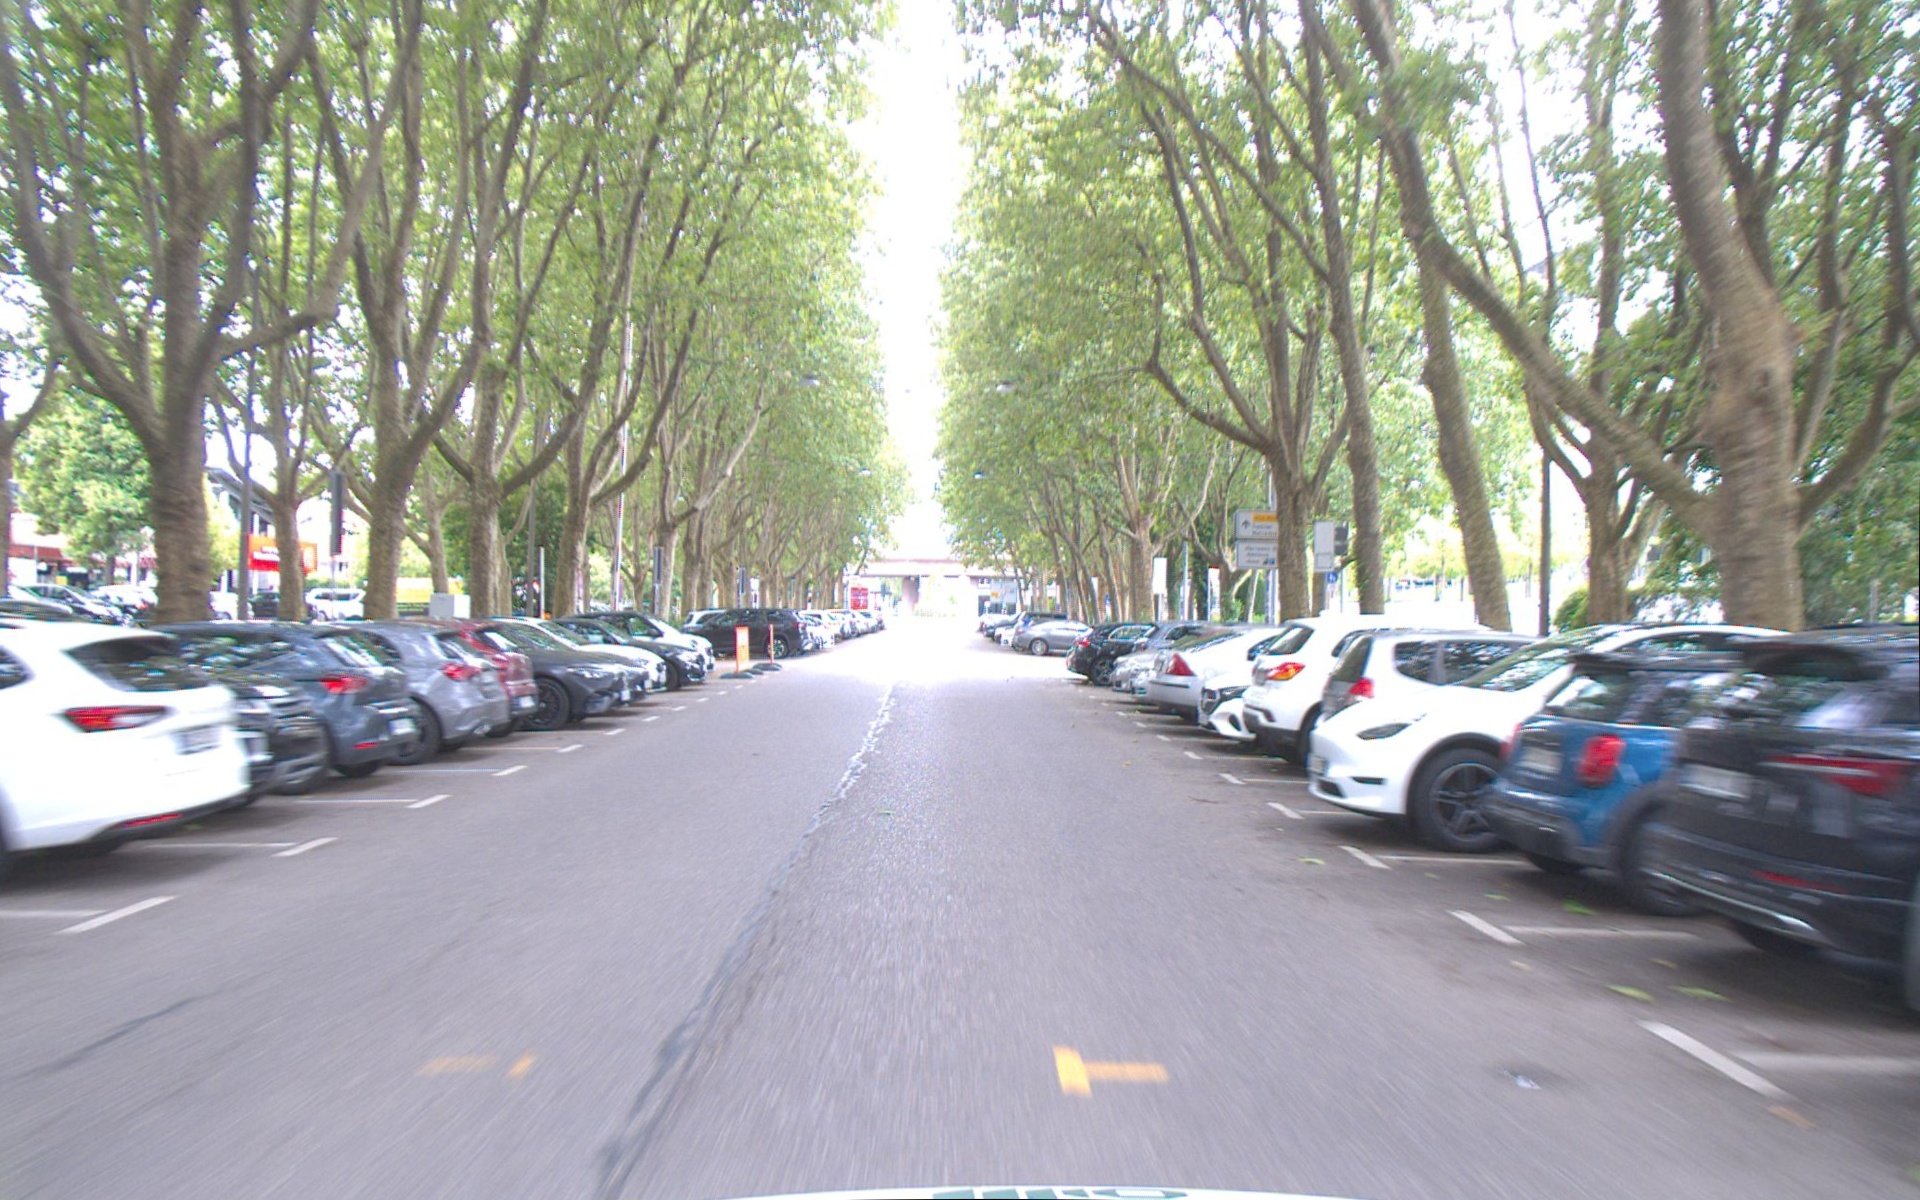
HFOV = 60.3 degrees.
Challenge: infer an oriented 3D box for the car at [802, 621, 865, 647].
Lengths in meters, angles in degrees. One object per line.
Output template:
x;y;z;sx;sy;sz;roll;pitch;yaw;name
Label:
-7.984;2.138;104.604;3.733;1.542;1.687;-1;-1;4;car

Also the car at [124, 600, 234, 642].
-33.394;0.896;70.796;3.902;1.617;1.695;2;-1;8;car

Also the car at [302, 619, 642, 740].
-6.249;1.001;21.508;3.941;1.455;1.693;-1;-1;-4;car

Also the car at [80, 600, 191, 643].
-33.764;0.898;67.799;3.680;1.618;1.535;2;-1;-3;car

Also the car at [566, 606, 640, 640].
-23.334;1.477;108.226;4.261;2.050;2.176;2;-1;3;car

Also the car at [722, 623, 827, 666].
-6.904;1.655;61.779;3.737;1.510;1.661;-1;-1;-3;car

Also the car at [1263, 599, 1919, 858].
4.481;0.888;12.105;4.084;1.624;1.853;2;-1;-4;car

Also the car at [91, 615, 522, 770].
-6.582;0.903;16.976;3.751;1.455;1.693;-1;-1;-4;car

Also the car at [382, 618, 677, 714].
-6.908;1.049;26.829;4.311;1.455;1.694;-1;-1;0;car

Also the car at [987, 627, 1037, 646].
4.586;3.186;145.894;4.287;1.549;1.731;2;-1;0;car

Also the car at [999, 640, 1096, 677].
3.804;2.519;71.401;4.088;1.467;1.732;2;-1;4;car

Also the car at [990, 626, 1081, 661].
3.503;1.993;76.376;4.088;1.467;1.732;2;-1;4;car

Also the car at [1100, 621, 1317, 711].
4.407;1.165;29.607;3.605;1.449;1.518;2;-1;-3;car

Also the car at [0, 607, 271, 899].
-6.177;0.829;9.474;3.751;1.523;1.693;-1;-1;-4;car

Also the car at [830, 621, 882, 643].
-7.888;2.420;125.939;3.734;1.542;1.686;1;-1;2;car

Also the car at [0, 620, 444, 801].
-6.698;0.926;14.560;3.750;1.455;1.801;-1;-1;-2;car

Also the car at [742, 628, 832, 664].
-7.744;2.078;74.324;3.733;1.510;1.663;-1;-1;4;car

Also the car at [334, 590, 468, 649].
-23.391;0.808;69.340;4.976;2.271;1.535;2;-1;-2;car

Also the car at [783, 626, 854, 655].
-8.077;2.331;94.568;3.733;1.542;1.687;-1;-1;4;car

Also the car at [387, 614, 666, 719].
-6.373;0.975;24.628;3.751;1.455;1.693;-1;-2;-4;car

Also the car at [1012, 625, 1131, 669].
4.317;1.814;64.159;4.478;1.513;2.001;2;-1;4;car

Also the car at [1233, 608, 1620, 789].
4.822;1.005;17.353;3.573;1.696;1.518;2;-1;-4;car

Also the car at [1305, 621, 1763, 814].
5.141;1.032;15.078;3.573;1.546;1.642;2;-1;-4;car

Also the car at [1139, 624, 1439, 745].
4.383;1.114;22.433;3.573;1.449;1.983;2;-1;-4;car

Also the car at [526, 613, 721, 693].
-6.948;1.083;34.390;3.751;1.582;1.693;-1;-1;-4;car

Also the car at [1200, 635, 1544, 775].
4.742;1.197;19.273;3.573;1.434;1.518;2;-1;-4;car

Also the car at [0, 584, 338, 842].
-6.523;0.742;11.467;3.752;1.636;1.857;-1;-1;-5;car

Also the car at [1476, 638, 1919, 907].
5.110;0.993;9.842;3.573;1.395;1.518;2;-1;-4;car

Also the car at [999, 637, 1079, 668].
4.110;2.728;86.377;3.968;1.494;1.730;2;-1;-3;car

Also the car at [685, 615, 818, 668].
-7.133;1.423;56.962;4.382;1.706;1.761;-1;-1;-3;car

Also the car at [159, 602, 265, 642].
-33.280;0.974;73.615;3.902;1.617;1.695;2;-1;8;car

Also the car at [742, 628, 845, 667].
-6.430;1.830;64.061;3.733;1.377;1.663;-1;-1;4;car

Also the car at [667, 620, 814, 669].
-7.134;1.451;54.077;4.571;1.452;1.999;-1;-1;-3;car

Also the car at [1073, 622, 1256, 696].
4.548;1.312;37.067;3.840;1.477;1.555;2;-1;-2;car

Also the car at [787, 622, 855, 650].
-8.102;2.103;96.617;3.733;1.542;1.687;-1;-1;4;car

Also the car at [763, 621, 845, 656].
-7.685;1.879;81.574;3.733;1.630;1.787;-1;-1;4;car

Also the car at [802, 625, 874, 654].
-6.729;2.189;91.605;3.733;1.542;1.687;-1;-1;4;car

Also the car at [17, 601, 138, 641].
-33.545;0.797;62.938;3.680;1.373;1.535;2;-1;-3;car

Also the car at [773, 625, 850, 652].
-7.795;2.034;86.947;3.733;1.319;1.787;-1;-1;4;car

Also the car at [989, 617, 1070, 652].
3.854;1.918;91.791;4.289;1.782;1.730;2;-1;-3;car

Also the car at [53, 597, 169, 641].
-33.493;0.748;65.300;3.680;1.618;1.535;2;-1;-3;car

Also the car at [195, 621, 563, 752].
-6.827;1.000;19.669;3.747;1.455;1.695;-1;-1;3;car

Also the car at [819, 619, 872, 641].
-8.562;2.223;123.871;3.734;1.542;1.686;1;-1;2;car

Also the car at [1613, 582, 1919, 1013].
5.113;0.820;7.318;3.701;1.625;1.819;2;-1;-4;car

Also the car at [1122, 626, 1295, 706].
5.200;1.369;34.856;3.356;1.534;1.555;2;-1;-2;car

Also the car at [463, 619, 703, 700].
-7.142;1.113;31.631;4.247;1.455;1.693;-1;-1;-4;car

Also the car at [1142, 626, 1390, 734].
4.538;1.184;24.784;3.357;1.449;1.518;2;-1;-4;car

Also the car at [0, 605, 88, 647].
-32.895;0.894;58.030;3.680;1.373;1.535;2;-1;-2;car

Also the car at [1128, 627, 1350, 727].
4.486;1.232;26.938;3.354;1.449;1.519;2;-1;1;car
